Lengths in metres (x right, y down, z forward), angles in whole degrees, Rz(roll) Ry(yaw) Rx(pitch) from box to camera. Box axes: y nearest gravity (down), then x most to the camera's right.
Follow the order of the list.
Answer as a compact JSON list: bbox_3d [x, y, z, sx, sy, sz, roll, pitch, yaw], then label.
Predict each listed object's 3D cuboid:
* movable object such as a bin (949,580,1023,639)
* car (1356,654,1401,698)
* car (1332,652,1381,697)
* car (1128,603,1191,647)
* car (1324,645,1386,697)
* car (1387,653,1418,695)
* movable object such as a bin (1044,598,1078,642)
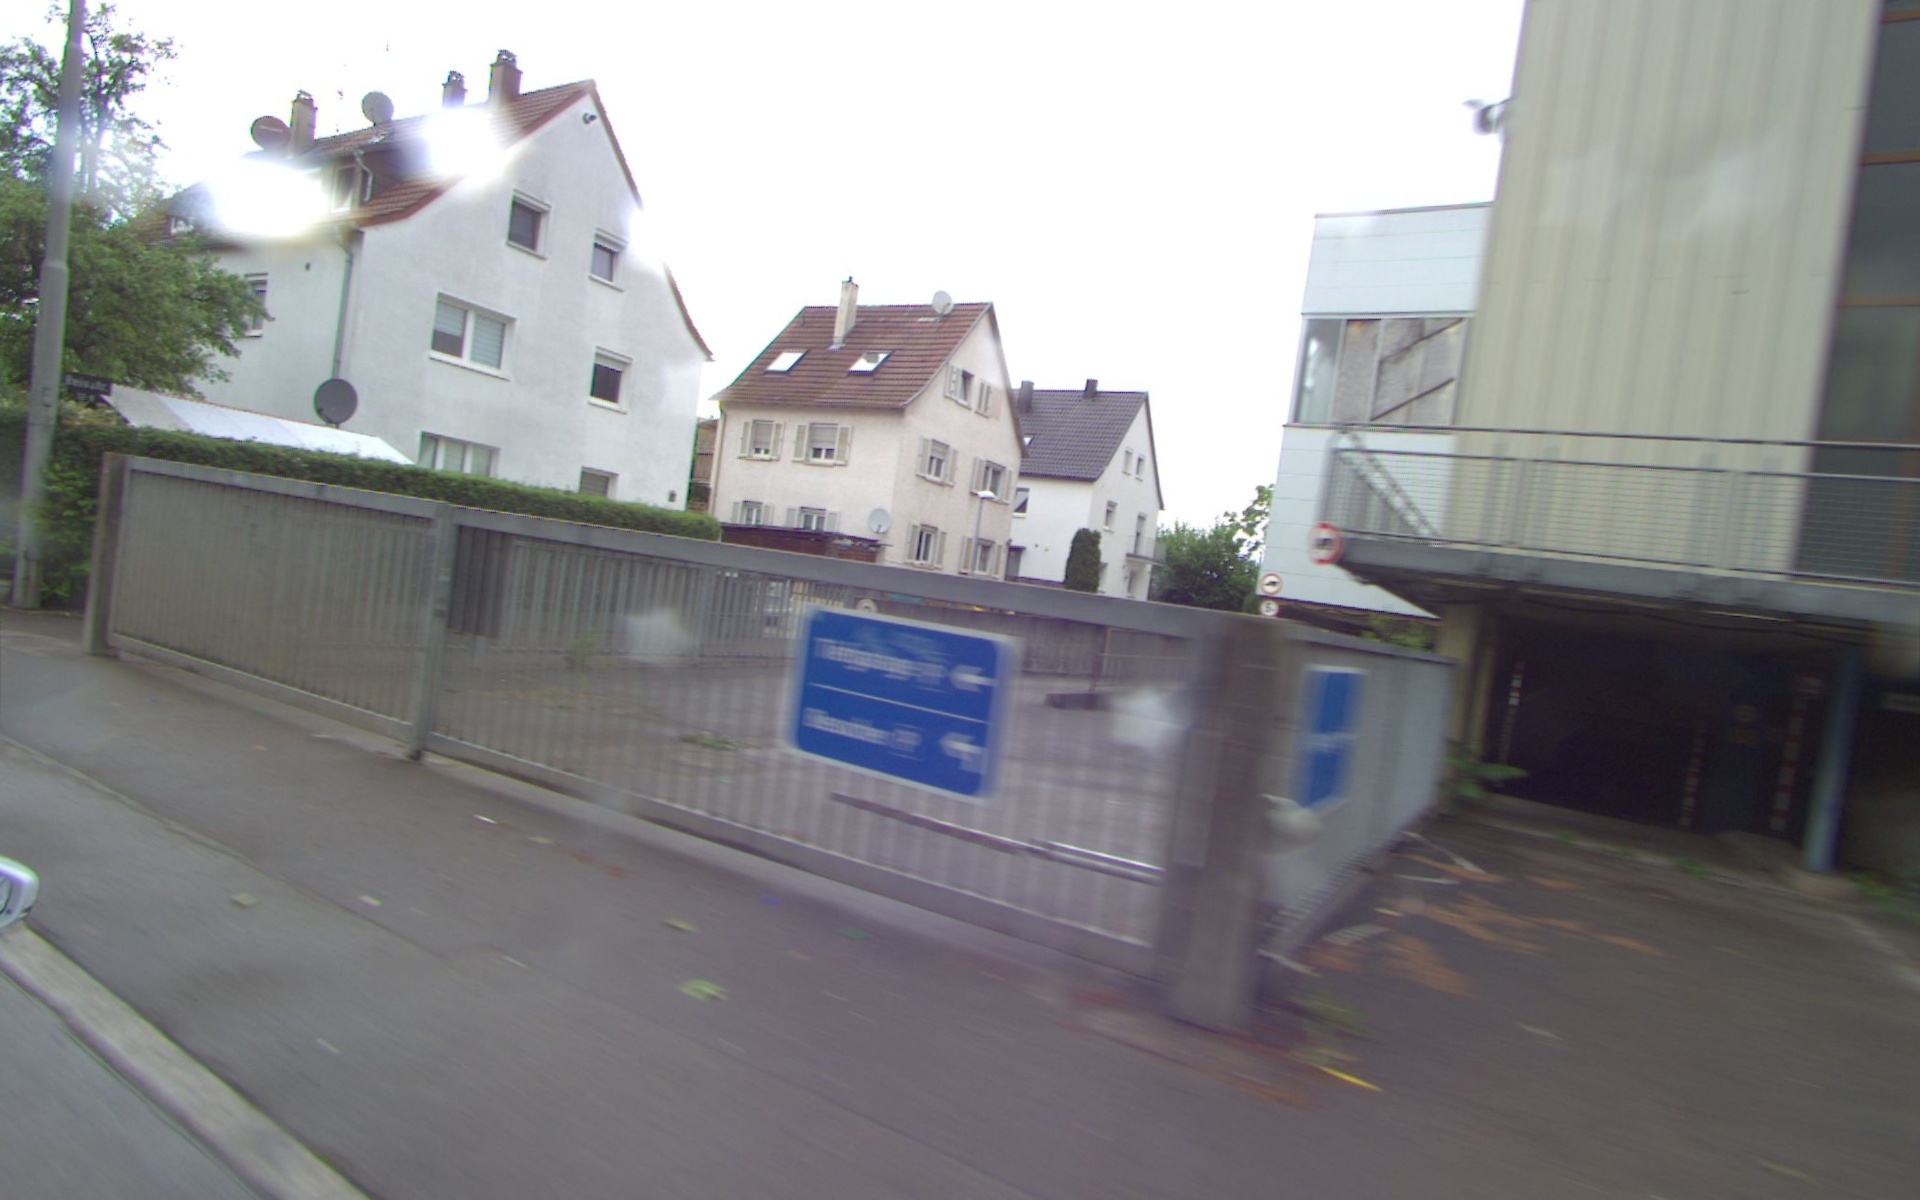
[{"bbox_3d":[0.833,0.302,31.509,1.565,1.574,1.628,6,-1,29],"label":"movable object such as a bin"},{"bbox_3d":[22.836,4.147,54.801,1.421,2.098,3.289,6,-2,35],"label":"car"},{"bbox_3d":[19.553,3.677,49.564,1.351,1.920,3.289,7,-1,34],"label":"car"},{"bbox_3d":[9.751,1.250,49.061,1.859,1.771,3.996,7,0,26],"label":"car"},{"bbox_3d":[18.005,3.267,45.759,1.690,2.047,3.836,8,0,33],"label":"car"},{"bbox_3d":[30.045,5.034,68.222,1.349,2.542,4.433,7,-2,29],"label":"car"},{"bbox_3d":[3.408,0.684,33.867,0.610,1.323,1.061,7,-1,29],"label":"movable object such as a bin"}]
